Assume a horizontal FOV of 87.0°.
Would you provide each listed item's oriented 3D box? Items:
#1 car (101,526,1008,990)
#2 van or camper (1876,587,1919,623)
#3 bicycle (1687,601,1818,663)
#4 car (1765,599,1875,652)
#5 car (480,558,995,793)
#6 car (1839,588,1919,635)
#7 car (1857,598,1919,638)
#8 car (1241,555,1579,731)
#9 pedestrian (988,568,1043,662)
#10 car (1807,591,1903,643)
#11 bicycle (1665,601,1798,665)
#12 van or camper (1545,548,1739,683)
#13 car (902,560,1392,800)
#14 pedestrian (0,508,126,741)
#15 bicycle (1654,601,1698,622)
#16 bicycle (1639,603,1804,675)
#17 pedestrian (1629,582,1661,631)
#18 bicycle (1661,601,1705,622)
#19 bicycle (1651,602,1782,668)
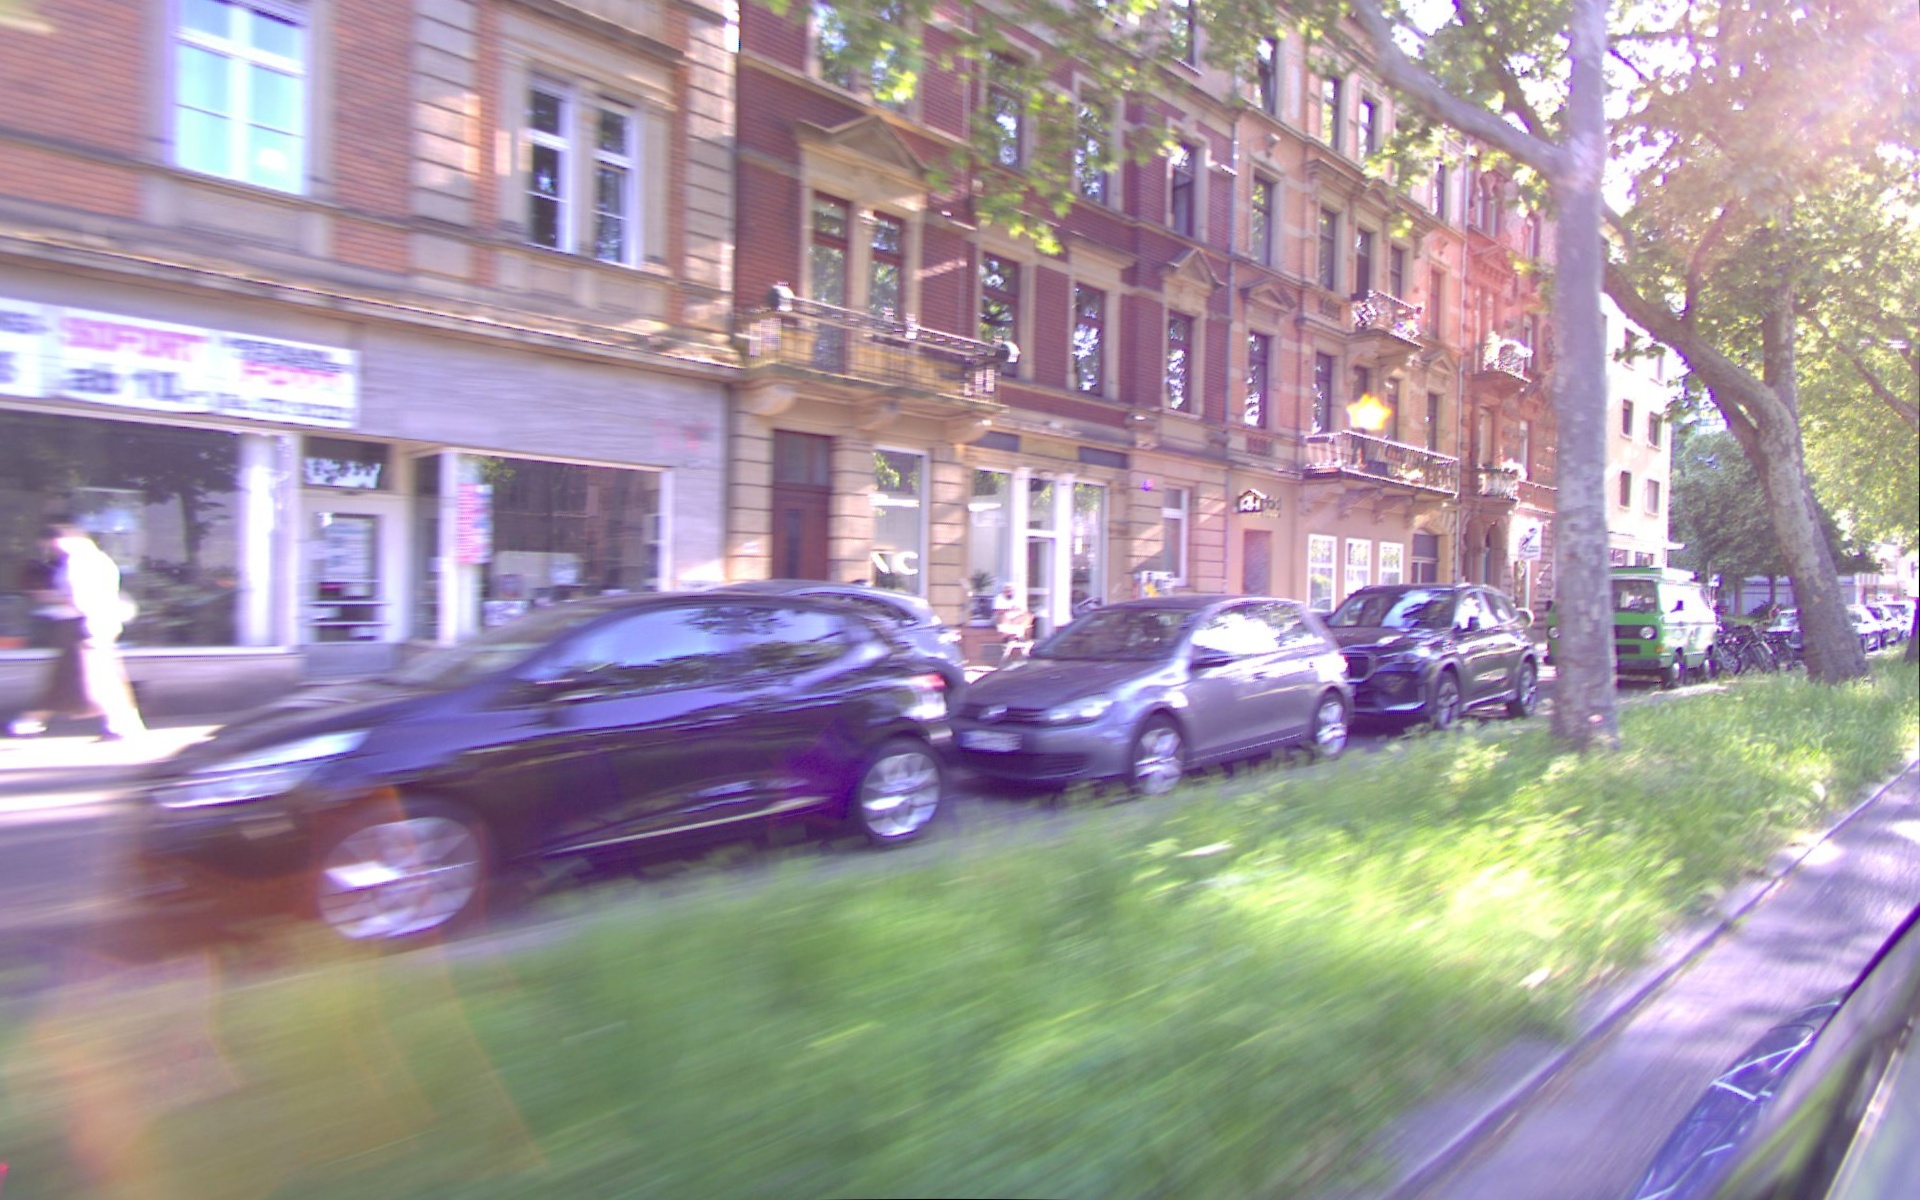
[{"bbox_3d":[-1.827,0.534,5.358,4.113,1.516,1.755,0,-2,-42],"label":"car"},{"bbox_3d":[63.266,0.336,67.769,5.722,2.315,2.294,0,1,-42],"label":"van or camper"},{"bbox_3d":[17.719,0.681,22.676,0.965,1.310,2.169,0,0,-39],"label":"bicycle"},{"bbox_3d":[25.012,0.715,29.391,4.119,1.425,1.836,0,-2,-41],"label":"car"},{"bbox_3d":[-1.788,0.488,8.949,4.113,1.598,1.757,0,2,-42],"label":"car"},{"bbox_3d":[33.148,0.426,36.458,4.186,1.549,1.698,2,0,-41],"label":"car"},{"bbox_3d":[37.021,0.730,40.081,4.186,1.470,1.717,2,0,-41],"label":"car"},{"bbox_3d":[5.434,0.428,11.887,4.719,1.668,1.892,0,-2,-43],"label":"car"},{"bbox_3d":[0.959,0.248,17.385,0.682,1.566,0.648,0,1,-42],"label":"pedestrian"},{"bbox_3d":[28.820,0.551,32.554,4.500,1.526,1.698,2,0,-41],"label":"car"},{"bbox_3d":[16.773,0.685,22.044,0.965,1.310,2.168,0,0,-40],"label":"bicycle"},{"bbox_3d":[12.351,0.262,18.194,4.694,2.125,1.835,0,-2,-43],"label":"van or camper"},{"bbox_3d":[1.737,0.515,8.364,4.291,1.483,1.739,0,-2,-42],"label":"car"},{"bbox_3d":[-7.467,0.184,8.311,0.941,1.810,0.693,0,1,-40],"label":"pedestrian"},{"bbox_3d":[40.299,0.643,56.990,0.462,1.117,2.150,1,1,-16],"label":"bicycle"},{"bbox_3d":[15.042,0.725,20.041,2.548,1.310,0.959,0,0,43],"label":"bicycle"},{"bbox_3d":[24.938,0.233,36.844,0.711,1.726,0.797,1,1,-41],"label":"pedestrian"},{"bbox_3d":[40.793,0.631,57.129,0.497,1.117,2.150,1,1,-16],"label":"bicycle"},{"bbox_3d":[15.825,0.697,21.206,2.160,1.310,0.969,0,0,39],"label":"bicycle"}]
